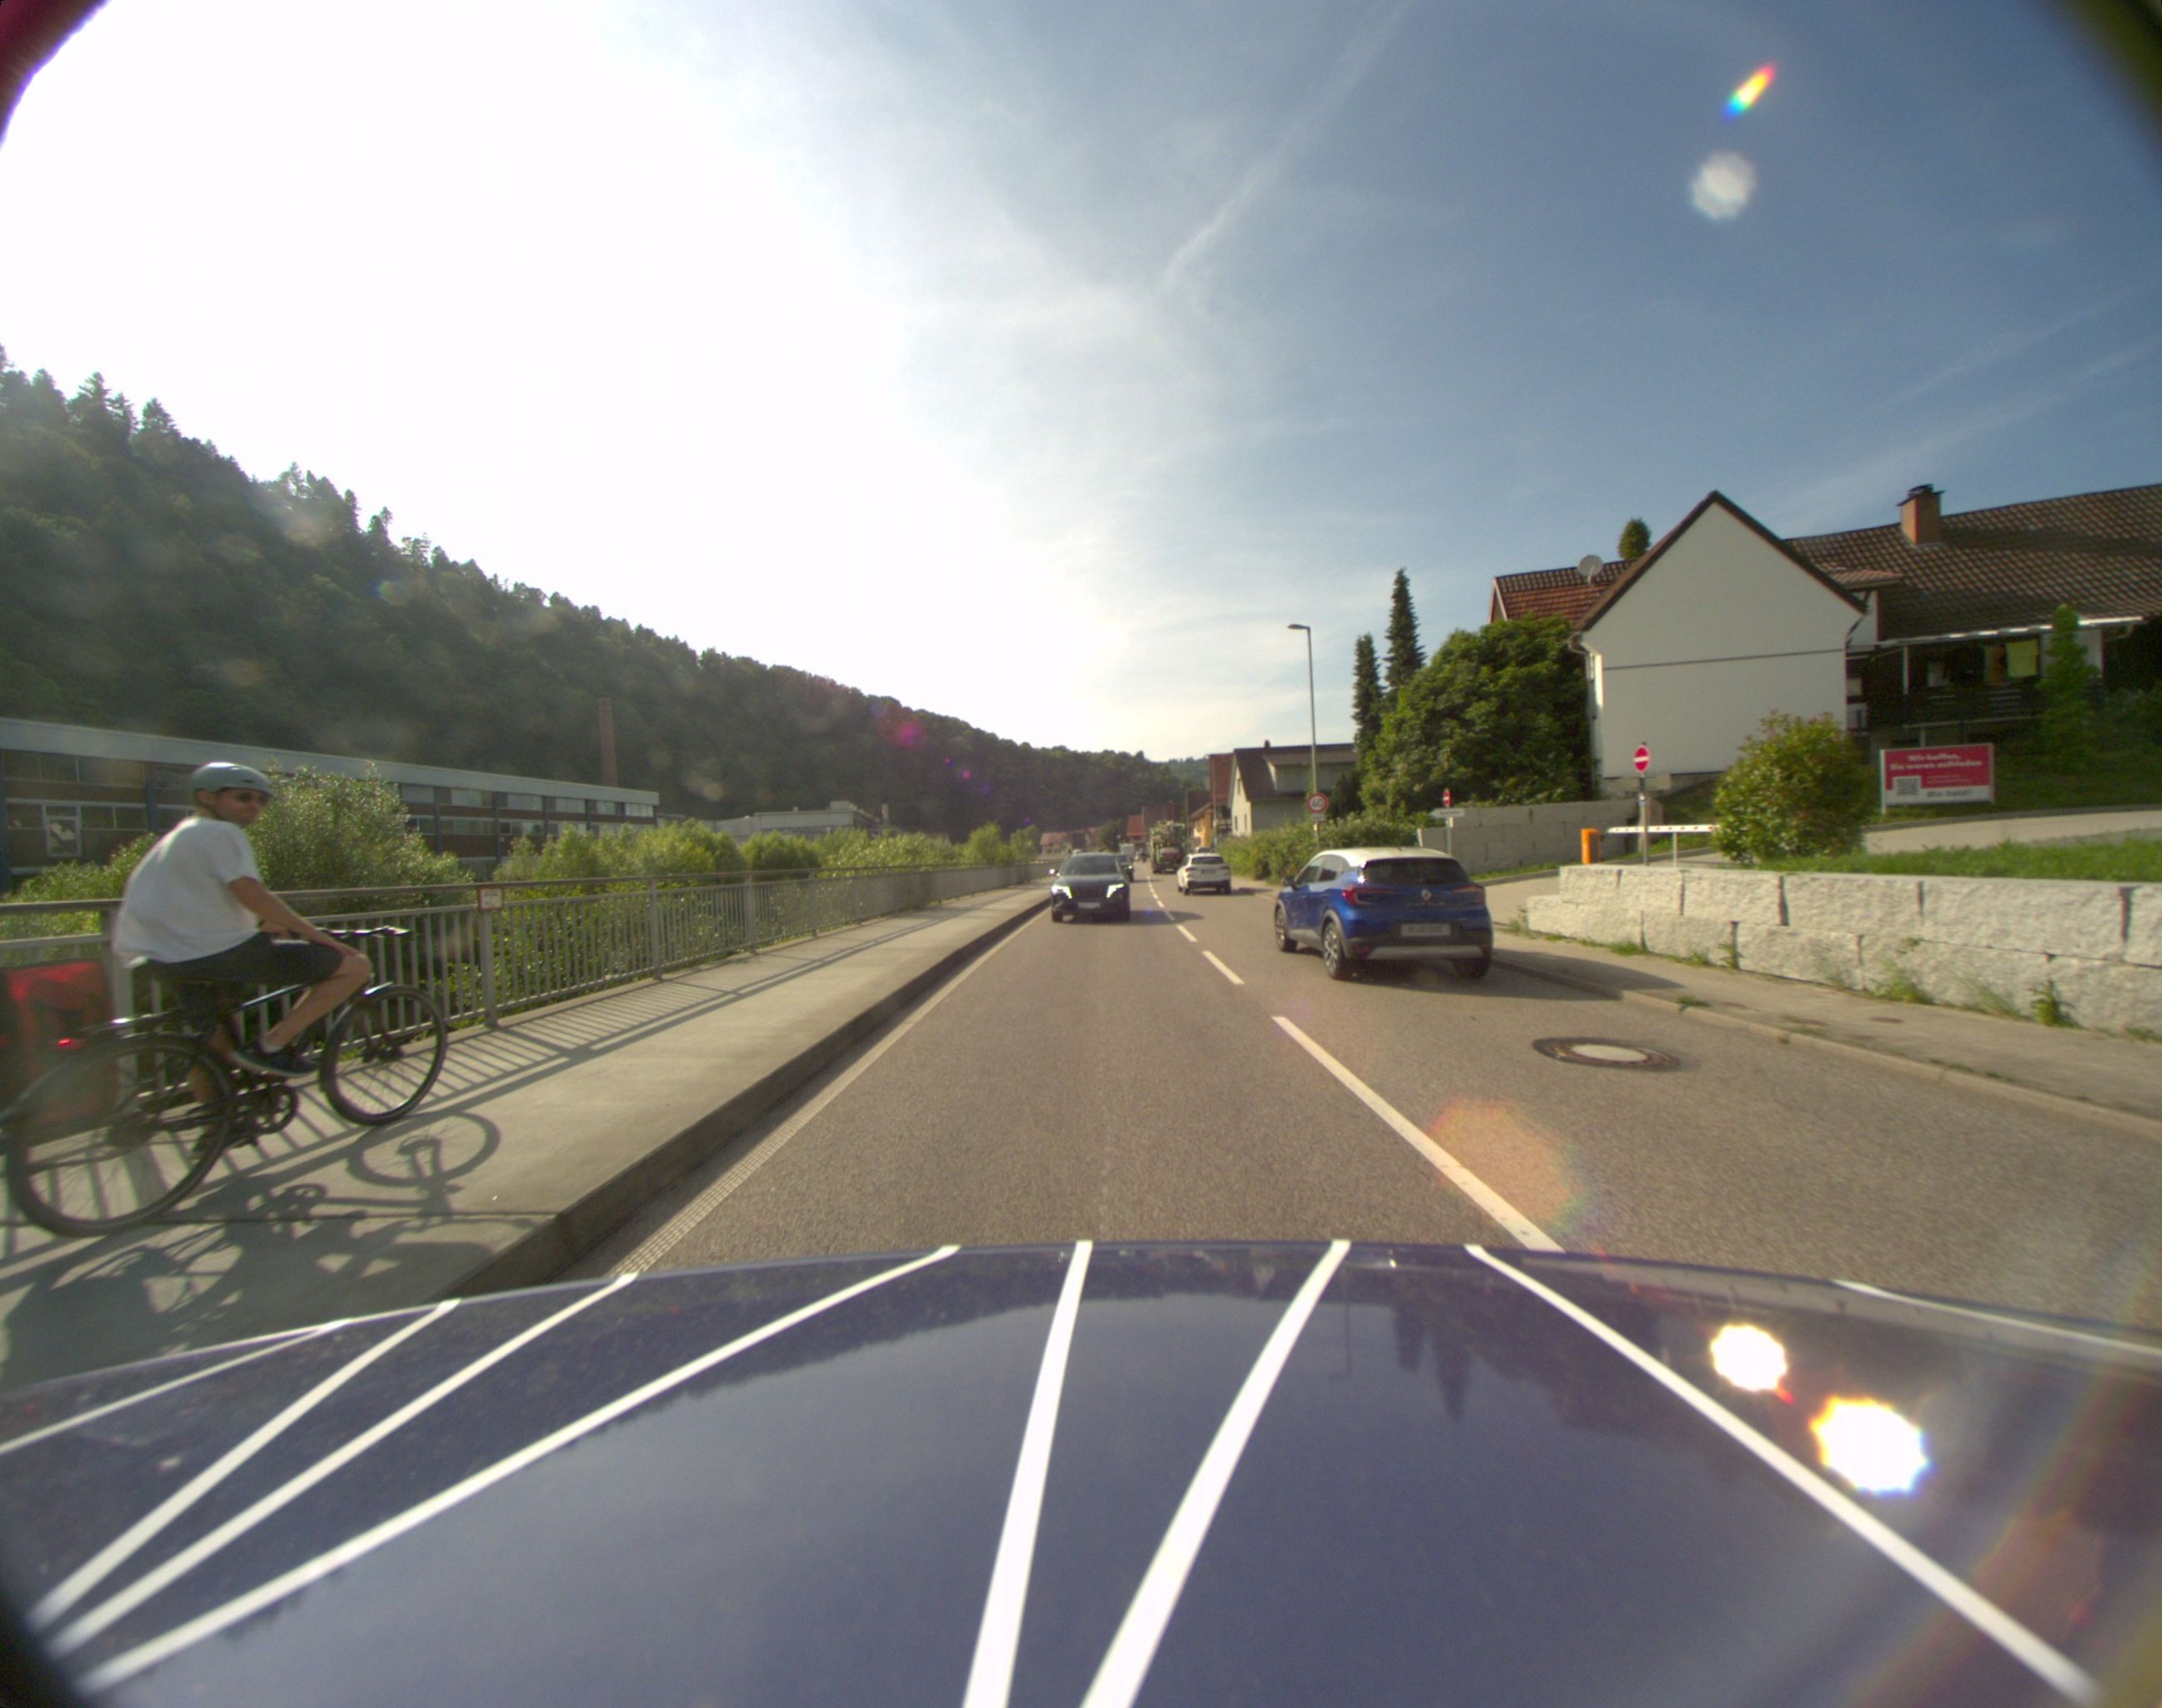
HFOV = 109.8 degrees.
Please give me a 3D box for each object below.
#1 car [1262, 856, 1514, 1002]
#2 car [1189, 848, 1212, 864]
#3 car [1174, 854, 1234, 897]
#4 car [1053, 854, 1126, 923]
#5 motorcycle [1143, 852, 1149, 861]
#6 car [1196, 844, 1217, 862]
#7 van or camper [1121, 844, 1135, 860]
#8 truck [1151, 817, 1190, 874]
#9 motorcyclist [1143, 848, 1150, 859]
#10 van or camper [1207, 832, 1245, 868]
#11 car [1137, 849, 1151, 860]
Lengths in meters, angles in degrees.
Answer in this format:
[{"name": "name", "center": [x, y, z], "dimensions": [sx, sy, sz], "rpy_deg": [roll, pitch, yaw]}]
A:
[{"name": "car", "center": [3.749, 0.804, 10.094], "dimensions": [1.748, 1.517, 4.000], "rpy_deg": [-1, 0, 1]}, {"name": "car", "center": [12.578, 0.184, 80.040], "dimensions": [1.888, 1.510, 4.095], "rpy_deg": [-2, 0, 3]}, {"name": "car", "center": [4.670, 0.783, 29.343], "dimensions": [1.753, 1.495, 4.191], "rpy_deg": [-1, 0, 2]}, {"name": "car", "center": [0.136, 0.835, 20.547], "dimensions": [1.649, 1.639, 3.998], "rpy_deg": [-1, 0, -4]}, {"name": "motorcycle", "center": [8.911, 0.344, 104.300], "dimensions": [0.655, 1.062, 2.183], "rpy_deg": [-2, 1, 7]}, {"name": "car", "center": [12.642, -0.097, 76.680], "dimensions": [1.904, 1.655, 4.269], "rpy_deg": [-4, 1, 8]}, {"name": "van or camper", "center": [8.672, -0.378, 141.157], "dimensions": [2.200, 2.921, 7.128], "rpy_deg": [-4, 0, 3]}, {"name": "truck", "center": [6.712, -0.635, 58.276], "dimensions": [2.583, 3.909, 11.309], "rpy_deg": [-2, 0, 5]}, {"name": "motorcyclist", "center": [8.982, -0.083, 103.658], "dimensions": [0.827, 1.549, 0.628], "rpy_deg": [-2, 1, 8]}, {"name": "van or camper", "center": [10.917, -0.322, 57.724], "dimensions": [2.153, 2.540, 5.903], "rpy_deg": [-3, 0, 5]}, {"name": "car", "center": [9.861, 0.034, 118.820], "dimensions": [1.633, 1.476, 4.003], "rpy_deg": [-4, 1, 13]}]
